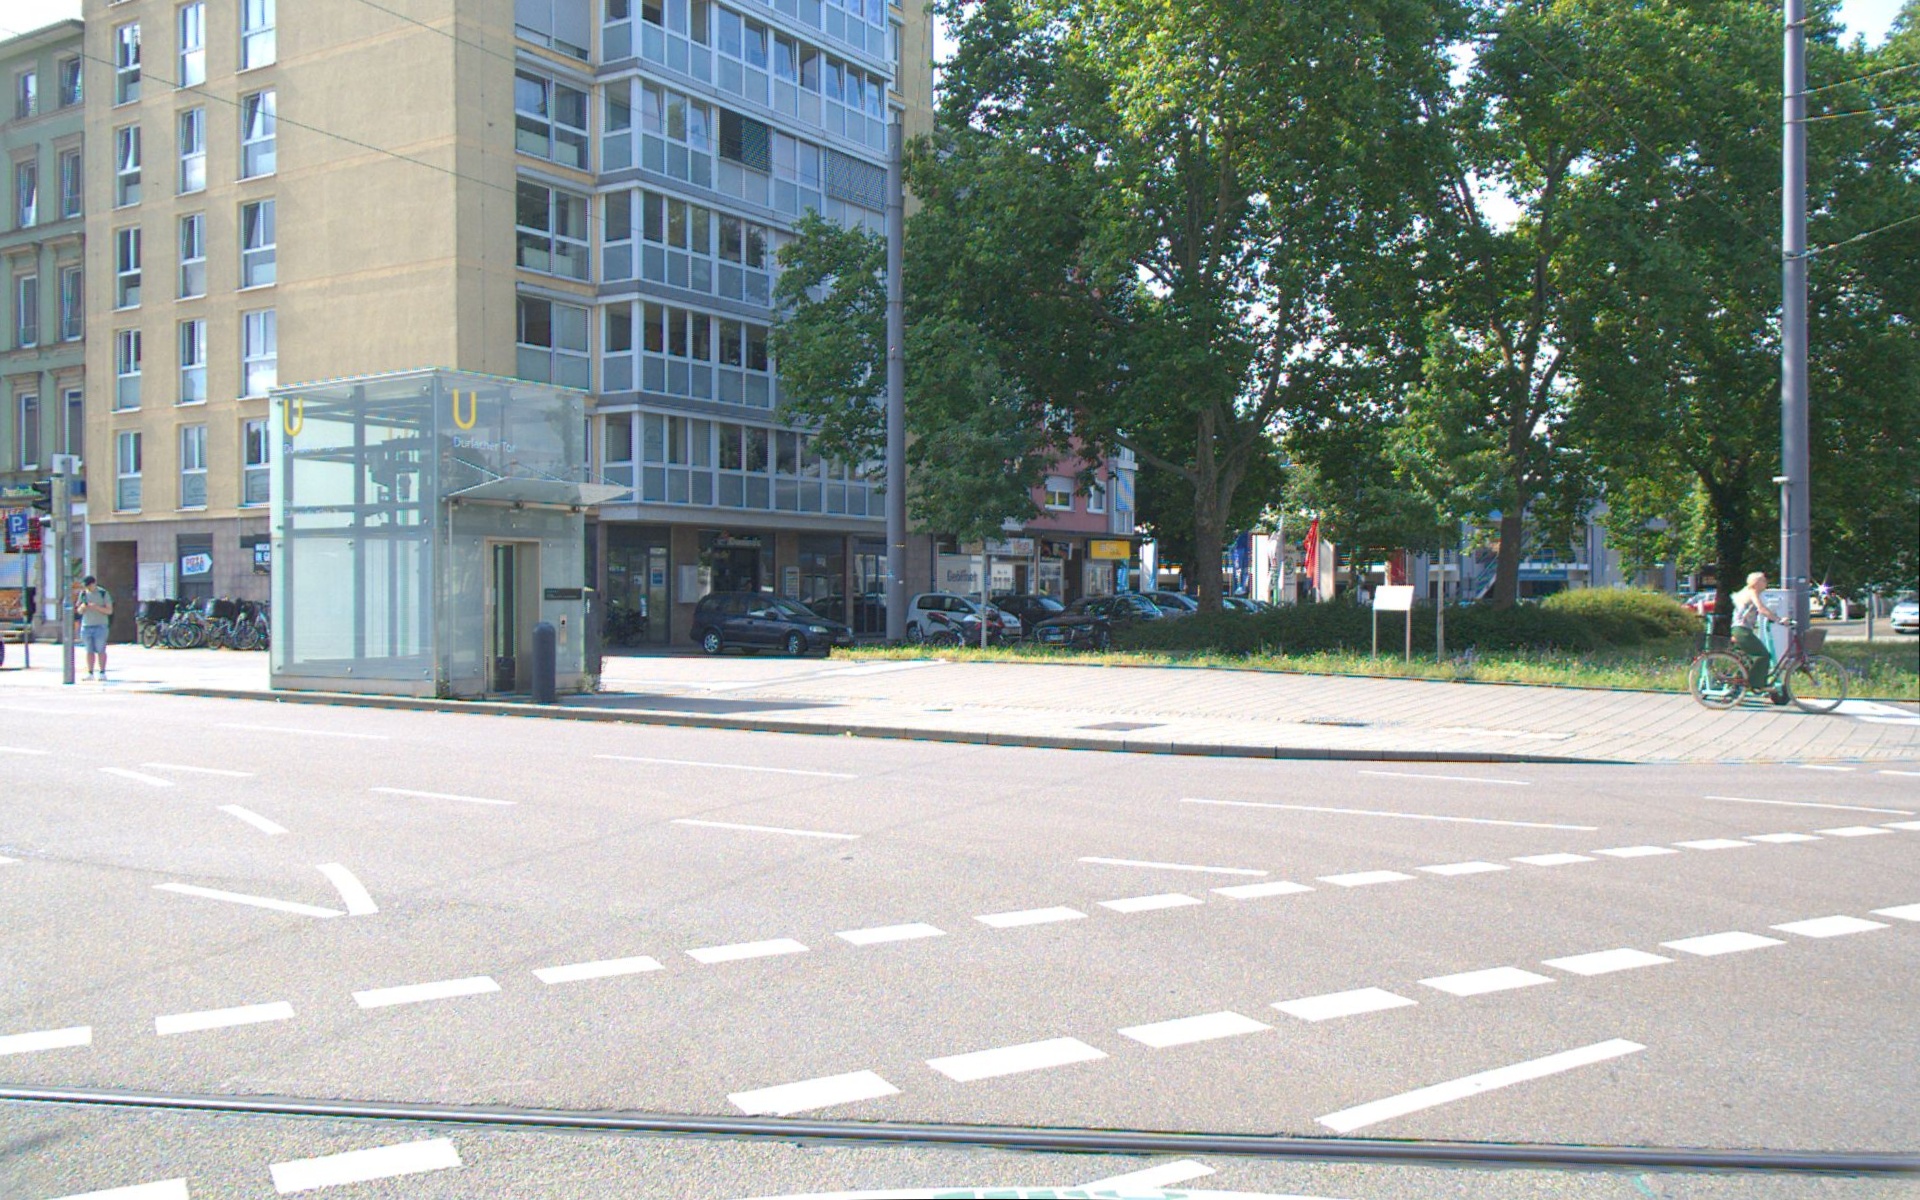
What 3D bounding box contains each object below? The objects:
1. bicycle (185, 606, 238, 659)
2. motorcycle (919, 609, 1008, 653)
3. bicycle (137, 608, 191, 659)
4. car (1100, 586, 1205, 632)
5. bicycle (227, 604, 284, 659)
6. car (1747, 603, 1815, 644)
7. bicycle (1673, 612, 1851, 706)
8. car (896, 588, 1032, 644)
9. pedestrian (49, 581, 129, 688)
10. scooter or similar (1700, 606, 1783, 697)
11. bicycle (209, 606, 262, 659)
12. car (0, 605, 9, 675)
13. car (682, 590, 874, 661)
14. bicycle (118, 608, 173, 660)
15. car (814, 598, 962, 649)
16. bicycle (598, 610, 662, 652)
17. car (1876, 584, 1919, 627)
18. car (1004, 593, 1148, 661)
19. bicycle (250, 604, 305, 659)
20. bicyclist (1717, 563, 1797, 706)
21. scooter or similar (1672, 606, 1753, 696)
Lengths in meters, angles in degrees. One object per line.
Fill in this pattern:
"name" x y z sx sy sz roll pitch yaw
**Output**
"bicycle" -18.558 0.792 40.998 1.613 1.222 0.486 3 3 37
"motorcycle" 0.073 0.672 35.987 1.855 0.918 0.603 0 0 -11
"bicycle" -20.614 0.862 42.807 1.611 1.222 0.486 3 3 33
"car" 7.176 0.355 61.849 3.547 1.622 1.660 -2 -2 36
"bicycle" -17.014 0.746 39.916 1.613 1.222 0.546 3 3 37
"car" 33.959 0.986 68.335 1.655 1.624 3.980 -2 -2 39
"bicycle" 10.116 0.753 20.950 1.945 1.147 0.789 -1 -2 21
"car" 0.121 0.496 48.896 3.498 1.557 1.995 -2 -2 32
"pedestrian" -14.982 0.589 28.472 0.767 1.790 0.996 -1 -1 8
"scooter or similar" 10.343 0.676 21.898 0.909 1.178 0.381 1 2 -7
"bicycle" -18.106 0.796 41.337 1.613 1.222 0.486 3 3 37
"car" -20.937 0.841 33.484 1.682 1.465 3.506 2 0 -8
"car" -4.423 0.598 39.979 4.298 1.613 1.995 0 -1 31
"bicycle" -20.875 0.853 42.380 1.611 1.222 0.486 3 3 33
"car" -2.007 0.670 45.691 3.914 1.350 1.582 -2 -2 32
"bicycle" -8.441 0.787 42.342 0.666 1.038 1.779 0 -1 26
"car" 37.276 0.243 64.510 1.963 1.602 3.978 -2 -2 41
"car" 2.905 0.628 40.684 1.760 1.444 3.987 4 3 34
"bicycle" -16.655 0.755 40.348 1.613 1.222 0.486 3 3 37
"bicyclist" 10.123 0.442 21.028 0.808 1.775 0.712 -1 -2 21
"scooter or similar" 10.220 0.694 22.475 0.907 1.178 0.382 1 2 5
